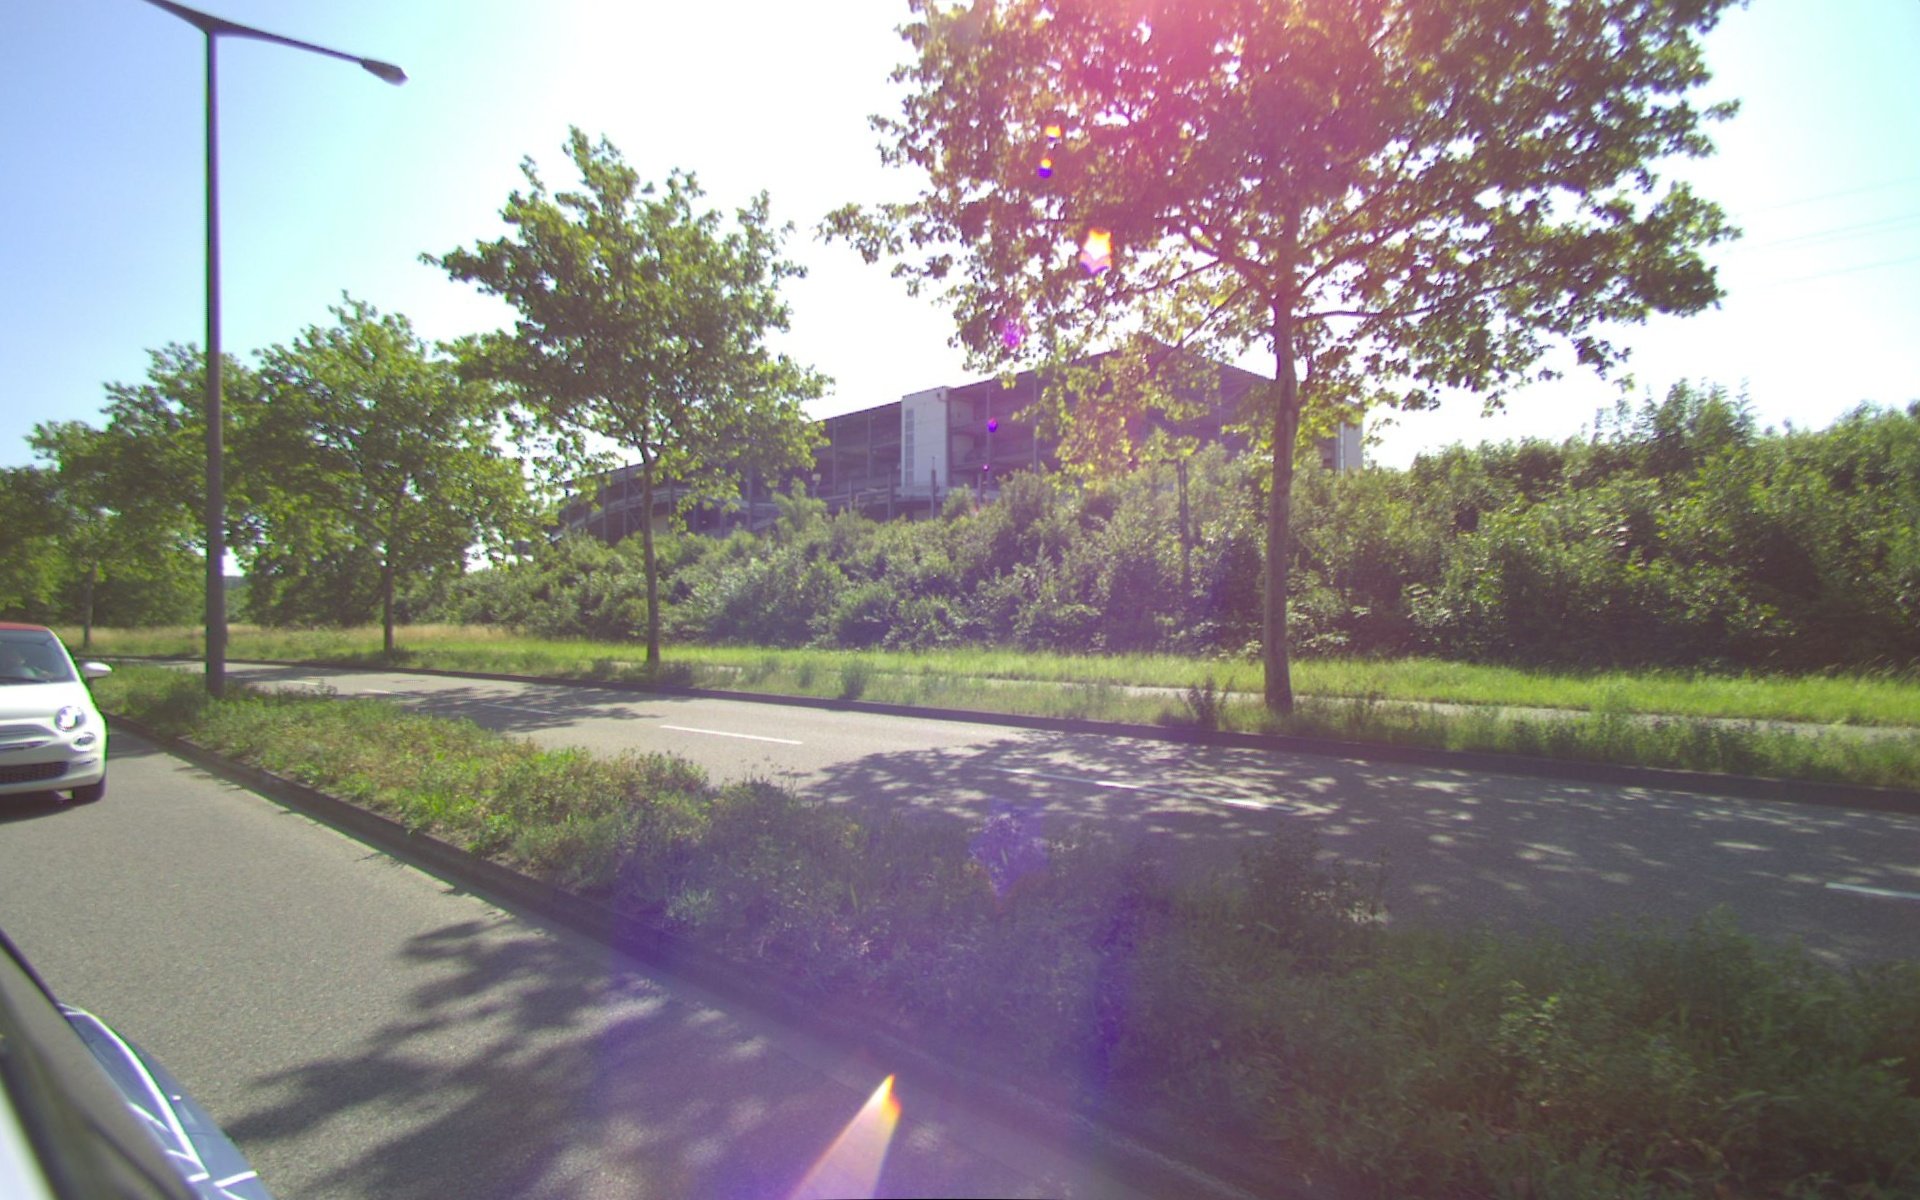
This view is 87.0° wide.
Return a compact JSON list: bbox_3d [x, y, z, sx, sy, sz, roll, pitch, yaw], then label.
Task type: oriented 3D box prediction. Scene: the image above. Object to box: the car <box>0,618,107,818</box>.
[{"bbox_3d":[-8.485,0.899,8.484,3.520,1.447,1.643,-1,0,43],"label":"car"}]
